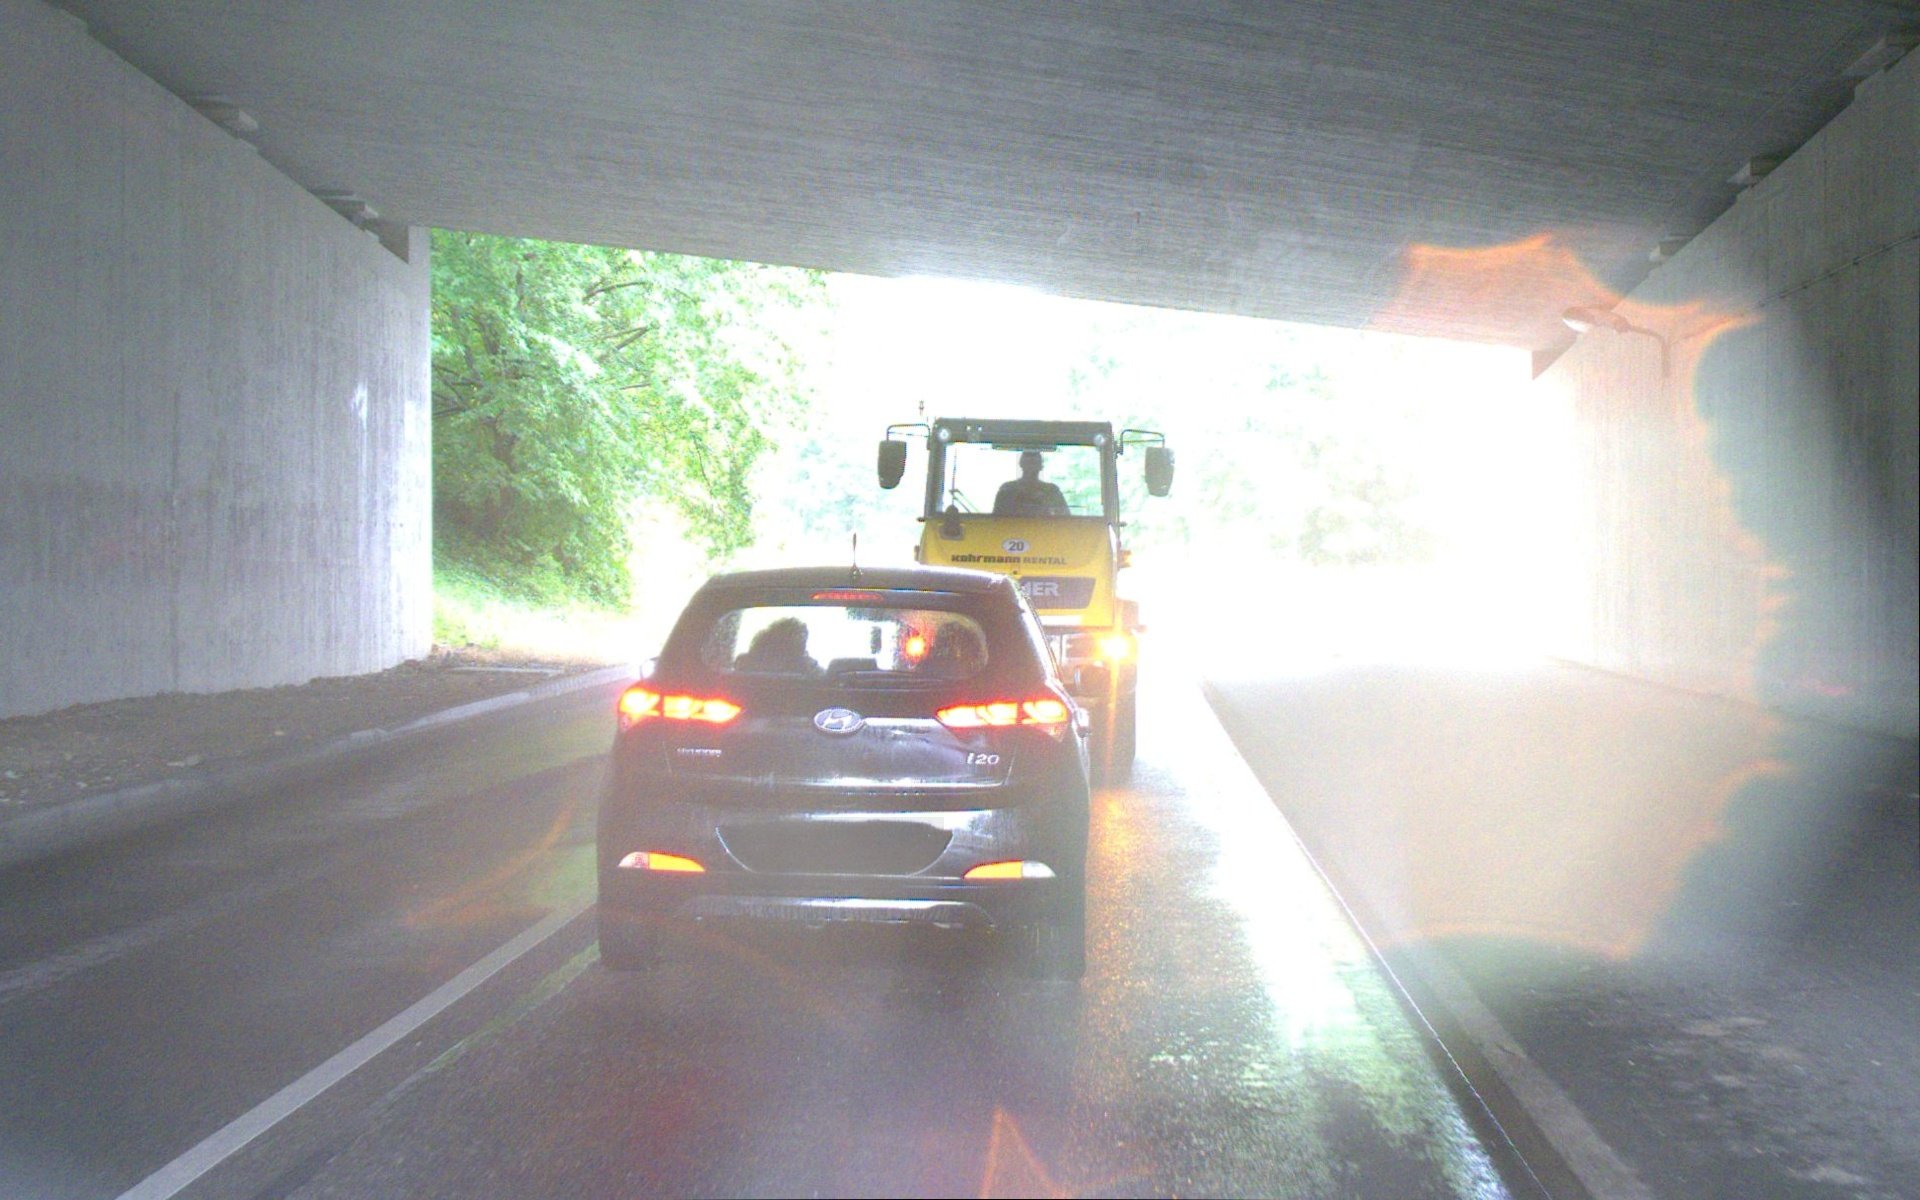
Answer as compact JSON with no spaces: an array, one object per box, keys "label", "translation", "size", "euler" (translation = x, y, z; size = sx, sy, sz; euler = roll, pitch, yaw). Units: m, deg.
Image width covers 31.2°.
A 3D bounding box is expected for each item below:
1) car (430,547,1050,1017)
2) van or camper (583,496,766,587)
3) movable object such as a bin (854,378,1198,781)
[{"label":"car","translation":[-0.756,0.572,13.336],"size":[1.993,1.482,4.000],"euler":[2,1,-1]},{"label":"van or camper","translation":[-7.090,-1.465,85.091],"size":[1.994,2.091,4.689],"euler":[1,1,-42]},{"label":"movable object such as a bin","translation":[0.525,-0.186,26.713],"size":[2.246,2.660,6.626],"euler":[2,1,1]}]
